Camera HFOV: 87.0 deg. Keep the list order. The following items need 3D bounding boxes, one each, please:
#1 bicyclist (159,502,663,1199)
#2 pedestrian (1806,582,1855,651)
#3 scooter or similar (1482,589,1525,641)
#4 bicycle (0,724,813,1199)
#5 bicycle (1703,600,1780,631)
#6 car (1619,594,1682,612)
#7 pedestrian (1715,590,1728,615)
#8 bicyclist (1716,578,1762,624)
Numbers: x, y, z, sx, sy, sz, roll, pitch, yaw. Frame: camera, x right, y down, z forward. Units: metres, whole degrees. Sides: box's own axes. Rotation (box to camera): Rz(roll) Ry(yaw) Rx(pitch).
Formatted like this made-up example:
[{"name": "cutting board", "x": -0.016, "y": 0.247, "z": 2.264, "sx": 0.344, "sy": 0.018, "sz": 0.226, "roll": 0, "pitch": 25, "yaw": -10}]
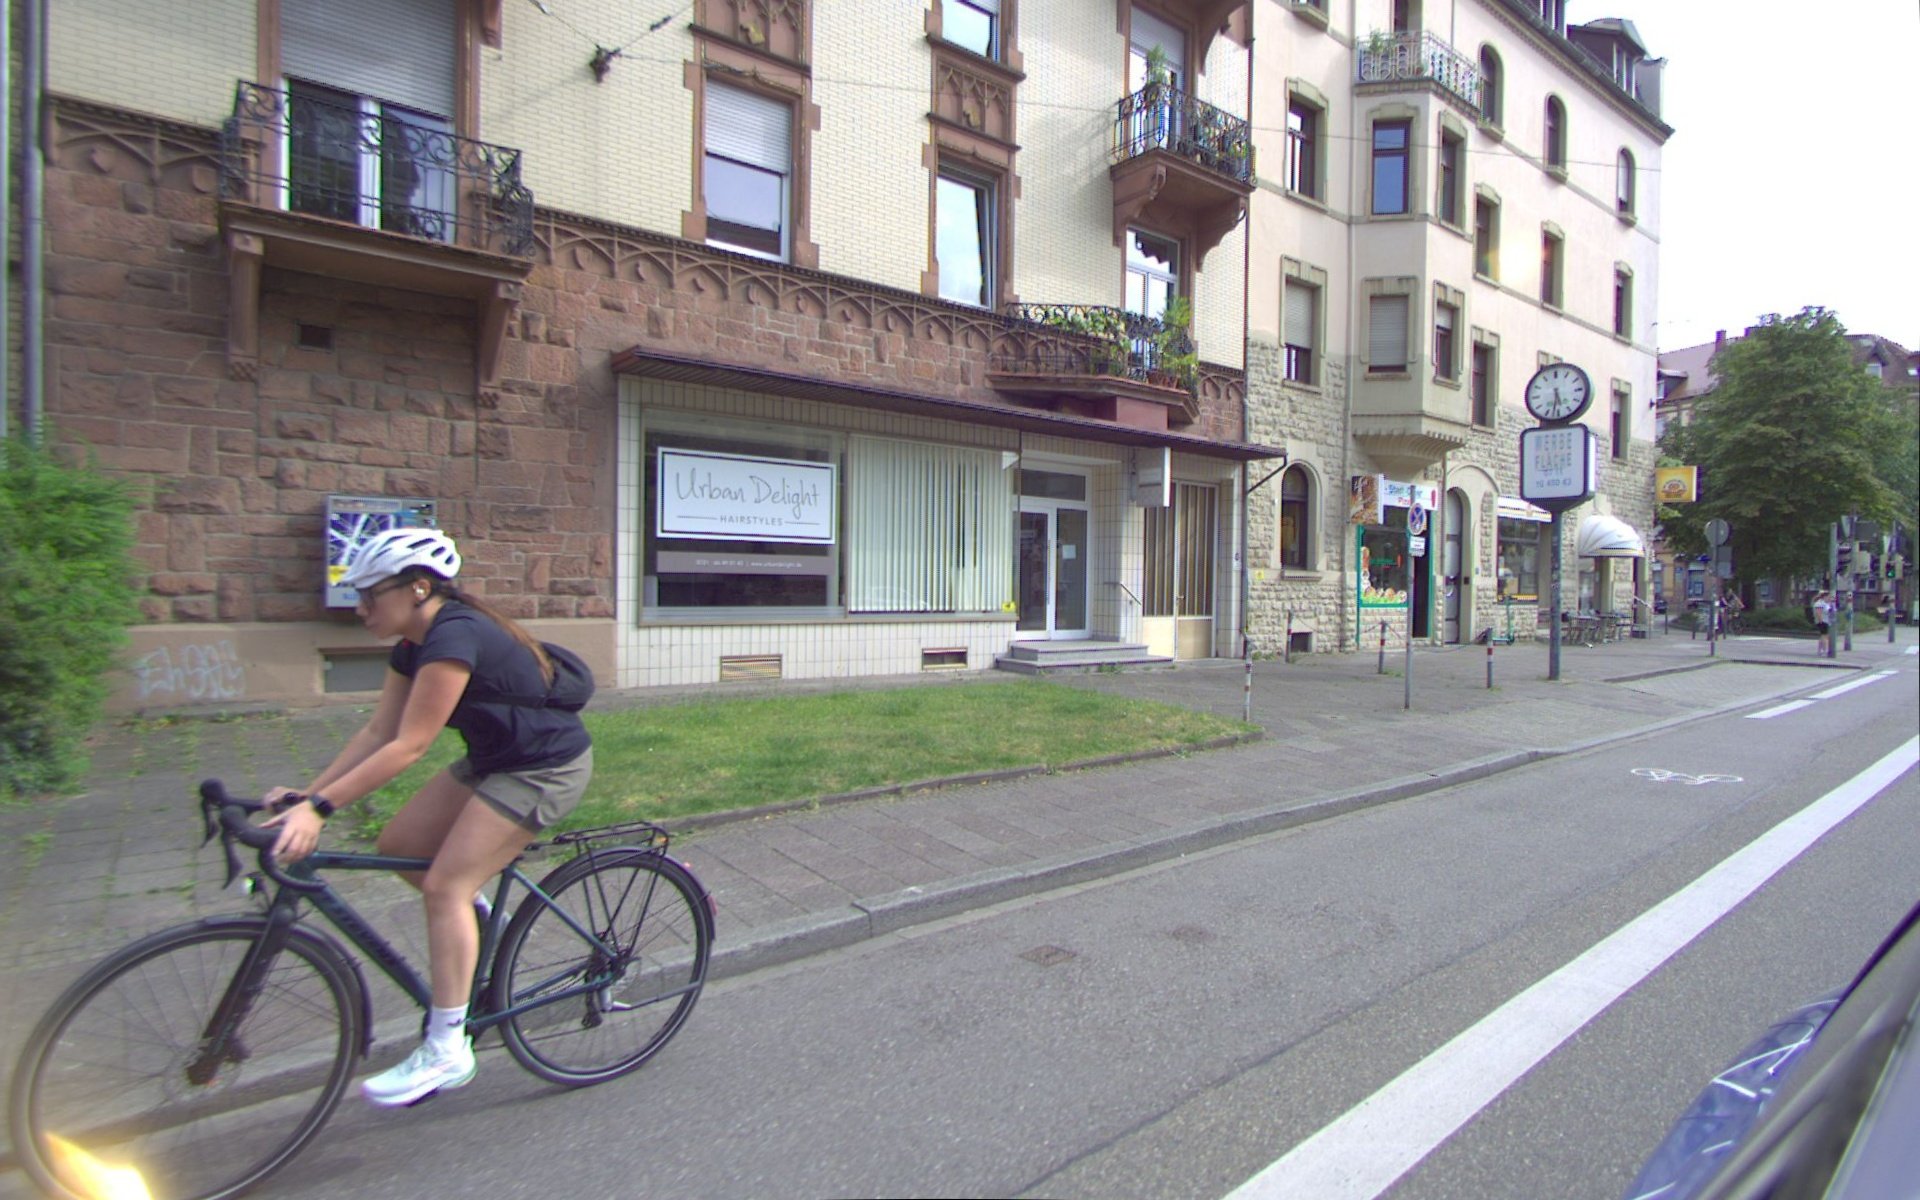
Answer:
[{"name": "bicyclist", "x": -1.454, "y": 0.588, "z": 2.733, "sx": 1.091, "sy": 1.590, "sz": 0.639, "roll": 0, "pitch": -1, "yaw": -40}, {"name": "pedestrian", "x": 22.319, "y": 0.411, "z": 25.950, "sx": 0.746, "sy": 1.680, "sz": 0.721, "roll": 0, "pitch": 5, "yaw": -42}, {"name": "scooter or similar", "x": 12.853, "y": 0.342, "z": 23.924, "sx": 1.174, "sy": 1.182, "sz": 0.398, "roll": 0, "pitch": 3, "yaw": -38}, {"name": "bicycle", "x": -1.438, "y": 0.941, "z": 2.739, "sx": 2.035, "sy": 0.993, "sz": 0.639, "roll": 0, "pitch": -1, "yaw": -40}, {"name": "bicycle", "x": 29.476, "y": 0.557, "z": 38.250, "sx": 0.871, "sy": 1.058, "sz": 3.090, "roll": 1, "pitch": 1, "yaw": 8}, {"name": "car", "x": 50.635, "y": 0.237, "z": 74.321, "sx": 1.702, "sy": 1.282, "sz": 3.597, "roll": 0, "pitch": 0, "yaw": -14}, {"name": "pedestrian", "x": 52.960, "y": 0.178, "z": 70.357, "sx": 0.630, "sy": 1.715, "sz": 0.611, "roll": 0, "pitch": 1, "yaw": -43}, {"name": "bicyclist", "x": 29.502, "y": 0.033, "z": 38.351, "sx": 0.825, "sy": 1.711, "sz": 1.244, "roll": 1, "pitch": 0, "yaw": 8}]
